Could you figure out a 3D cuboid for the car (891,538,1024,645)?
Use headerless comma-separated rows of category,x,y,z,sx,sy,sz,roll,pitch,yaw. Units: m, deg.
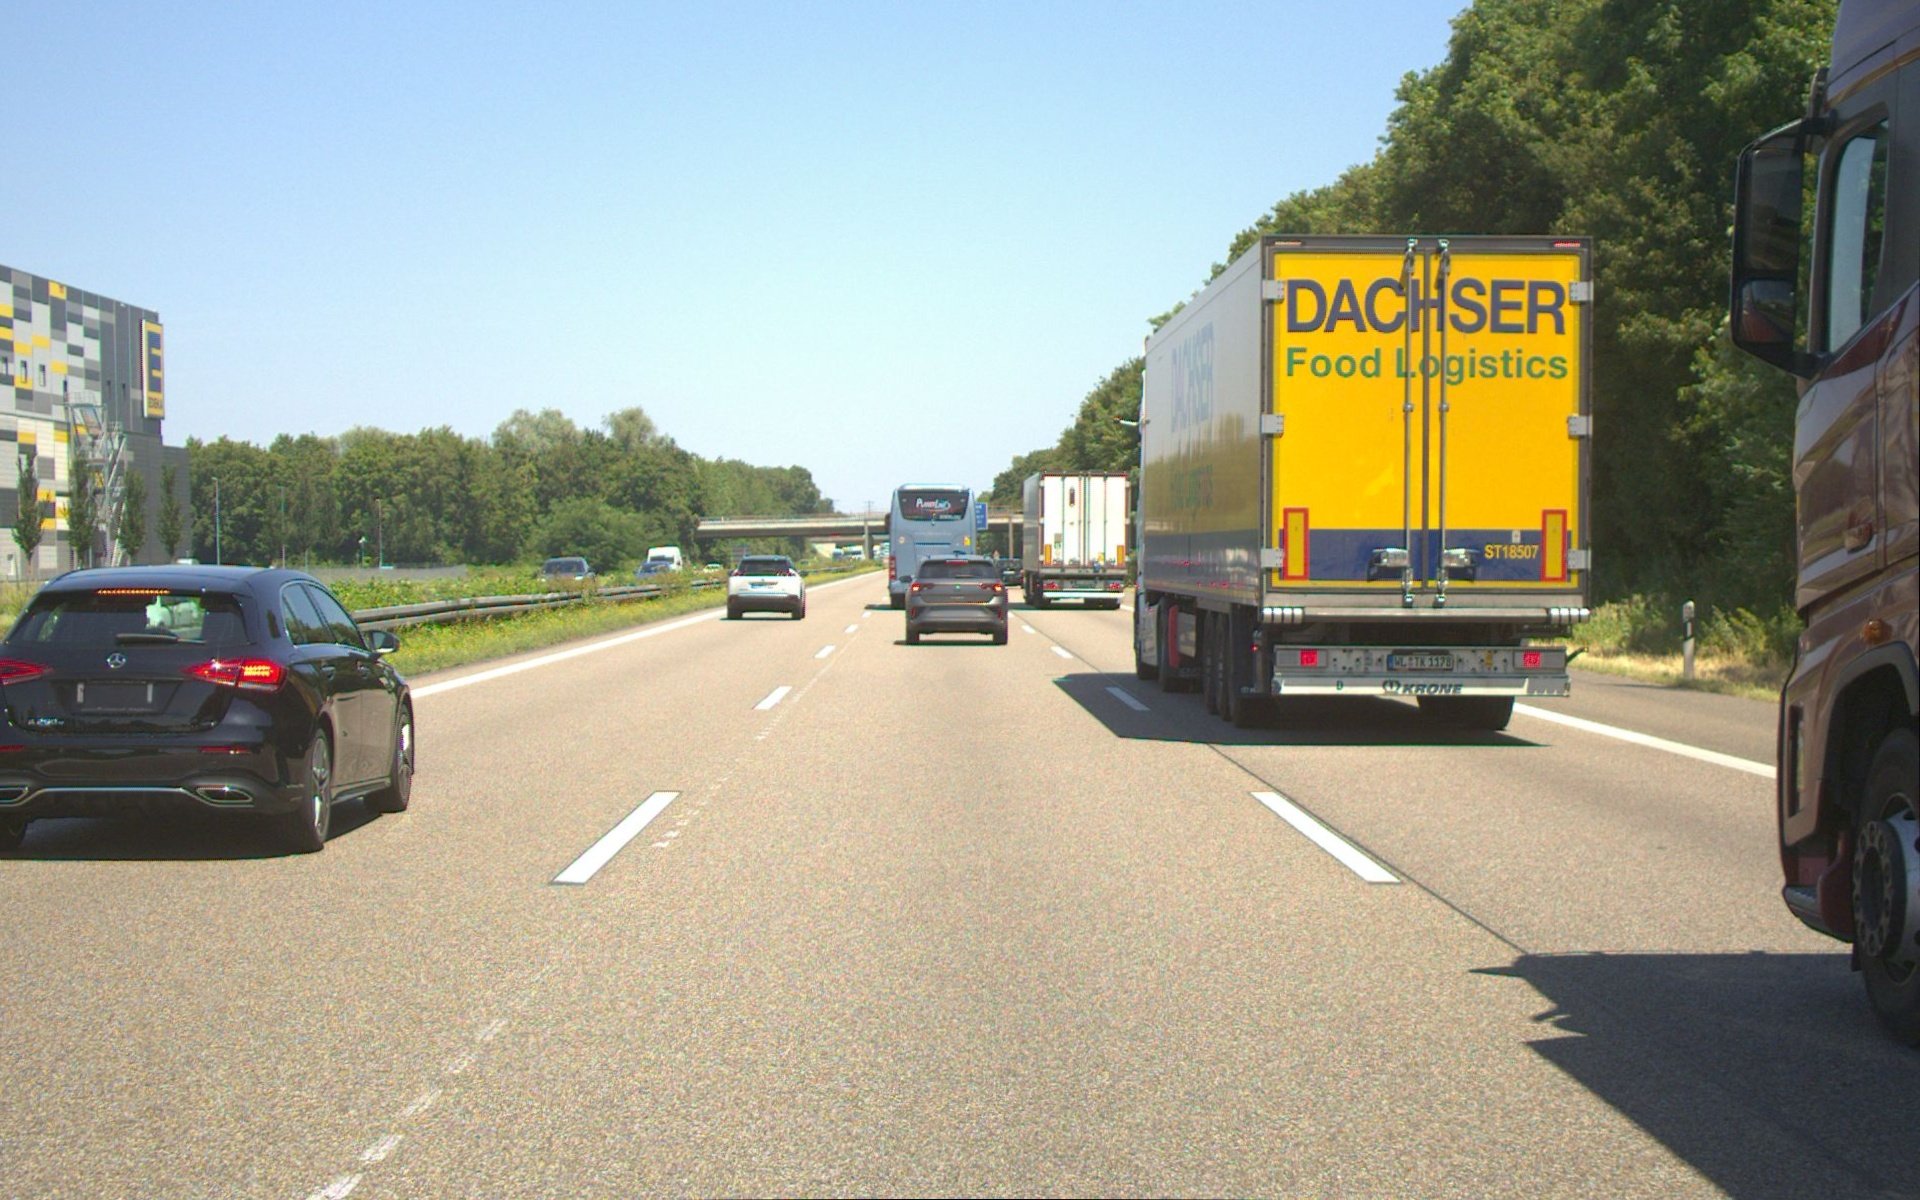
car,-0.078,-0.178,60.761,2.216,1.784,5.393,-1,1,-1

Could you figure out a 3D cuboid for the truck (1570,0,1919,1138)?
truck,4.042,-0.805,10.680,3.087,4.426,6.053,0,0,-1

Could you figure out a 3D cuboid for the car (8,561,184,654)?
car,-18.080,0.116,72.223,2.316,1.809,5.351,-1,1,0

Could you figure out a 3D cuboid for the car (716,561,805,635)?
car,-4.791,-0.075,83.012,1.993,1.722,4.131,0,1,-1

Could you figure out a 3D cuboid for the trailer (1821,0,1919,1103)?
trailer,4.312,-0.763,3.264,3.106,4.491,14.897,0,1,0

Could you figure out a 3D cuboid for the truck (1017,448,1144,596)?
truck,3.495,-2.276,102.205,3.423,4.112,9.564,-1,1,0

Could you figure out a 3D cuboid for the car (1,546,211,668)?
car,-13.607,0.067,55.100,2.045,1.800,5.418,-1,1,-1

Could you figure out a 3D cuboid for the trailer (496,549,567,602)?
trailer,-15.037,-0.869,120.811,1.944,1.783,5.238,-1,1,-2

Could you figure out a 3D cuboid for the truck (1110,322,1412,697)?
truck,3.370,-1.018,40.149,2.813,3.993,6.645,0,1,-1

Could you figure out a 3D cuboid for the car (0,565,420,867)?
car,-4.096,0.532,18.384,1.792,1.407,4.053,0,1,0

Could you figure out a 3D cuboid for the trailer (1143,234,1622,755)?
trailer,3.514,-0.897,31.885,2.834,3.940,11.684,0,1,-1

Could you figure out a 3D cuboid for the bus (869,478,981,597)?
bus,-1.099,-1.840,101.736,3.062,3.315,8.275,-1,1,-2
